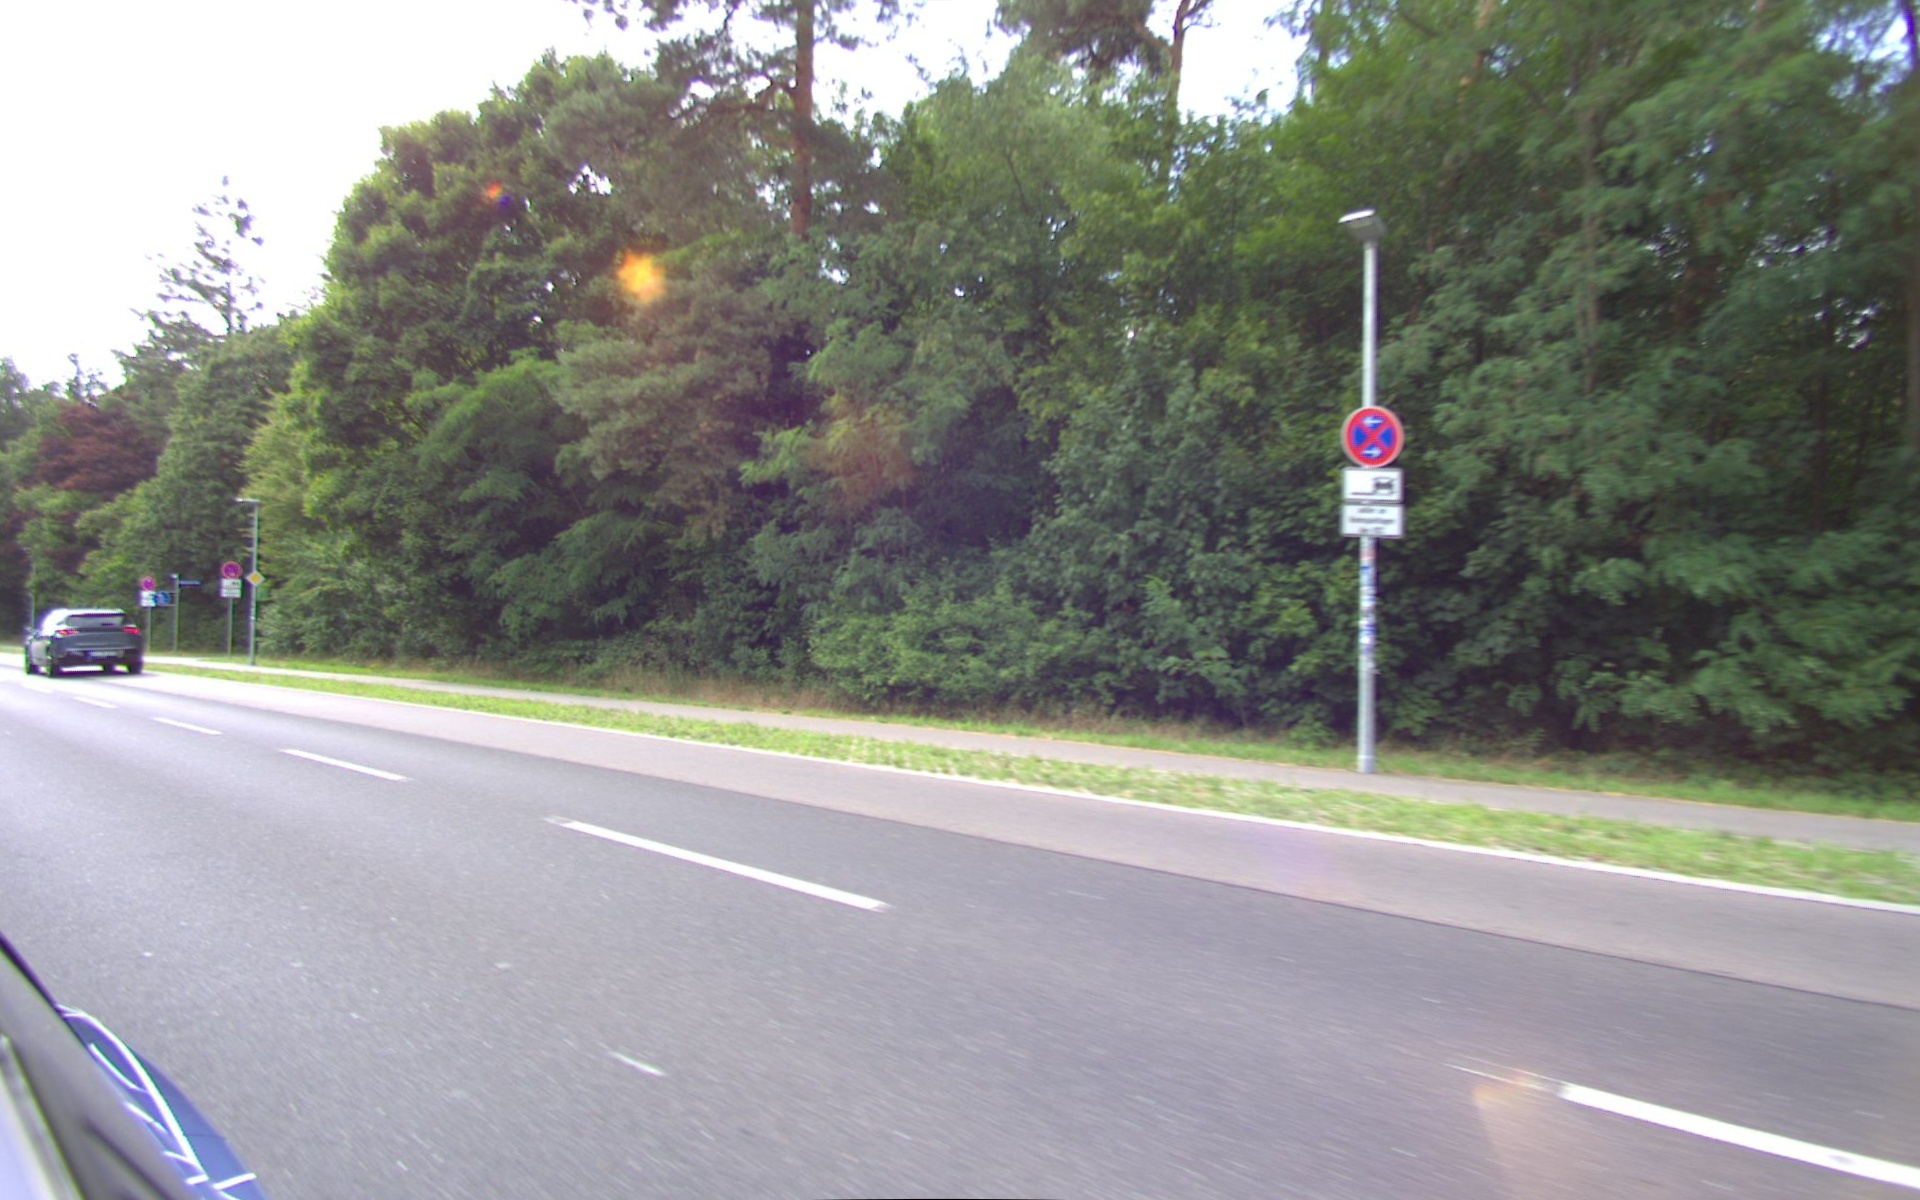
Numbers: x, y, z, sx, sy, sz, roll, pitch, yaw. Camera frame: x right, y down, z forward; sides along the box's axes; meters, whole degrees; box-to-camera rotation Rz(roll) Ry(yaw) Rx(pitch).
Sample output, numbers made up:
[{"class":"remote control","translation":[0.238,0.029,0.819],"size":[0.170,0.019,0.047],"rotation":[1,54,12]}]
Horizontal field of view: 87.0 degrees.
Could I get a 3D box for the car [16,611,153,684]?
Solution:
[{"class":"car","translation":[-23.006,1.168,26.536],"size":[4.661,1.628,1.973],"rotation":[0,2,41]}]
